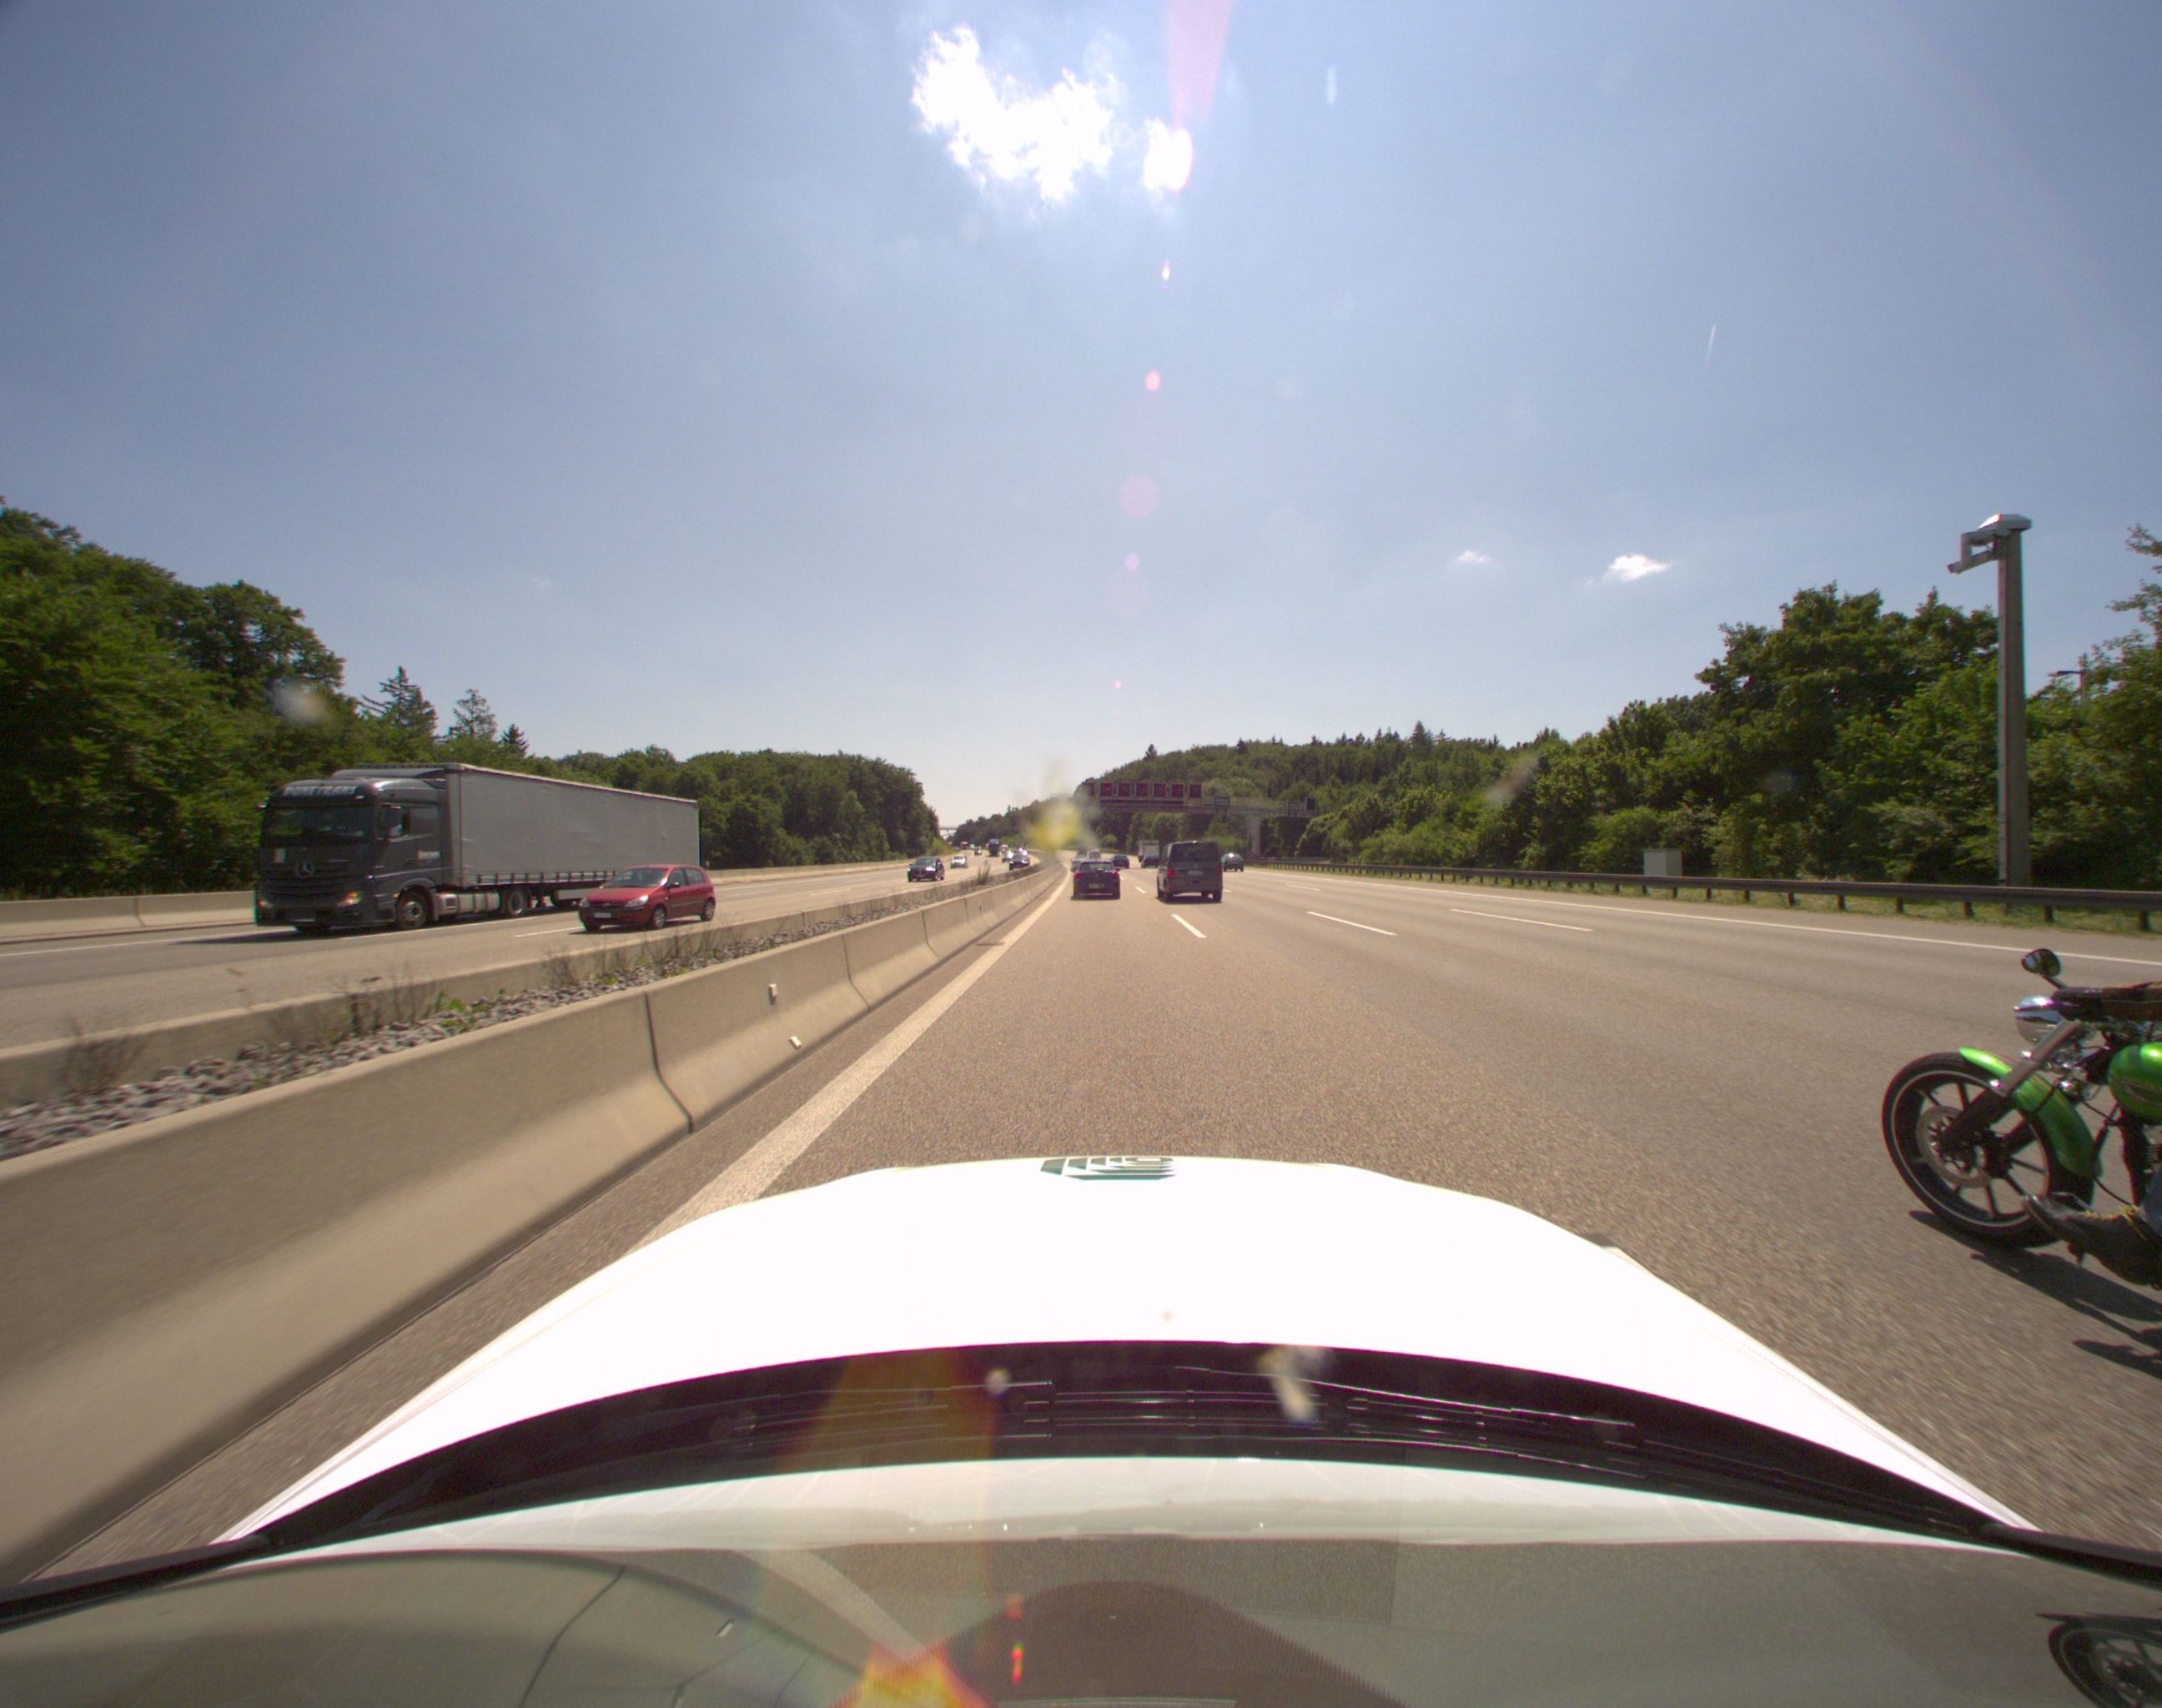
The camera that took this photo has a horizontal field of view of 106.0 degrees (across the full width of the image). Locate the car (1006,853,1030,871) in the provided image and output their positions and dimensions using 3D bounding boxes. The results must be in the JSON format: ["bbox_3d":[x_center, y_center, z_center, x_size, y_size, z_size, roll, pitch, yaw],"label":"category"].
[{"bbox_3d":[-6.190,0.756,80.809,1.987,1.667,4.434,-1,0,0],"label":"car"}]

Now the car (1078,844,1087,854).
[{"bbox_3d":[0.384,-1.129,199.082,2.258,2.371,4.701,-1,0,0],"label":"car"}]

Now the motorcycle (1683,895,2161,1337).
[{"bbox_3d":[3.421,0.794,3.198,0.533,1.135,2.441,-1,0,7],"label":"motorcycle"}]

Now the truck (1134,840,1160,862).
[{"bbox_3d":[9.737,-0.449,120.136,2.978,3.166,7.569,-1,1,-2],"label":"truck"}]

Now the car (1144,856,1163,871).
[{"bbox_3d":[7.495,1.000,84.900,1.659,1.408,4.905,0,1,2],"label":"car"}]

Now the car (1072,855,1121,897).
[{"bbox_3d":[0.557,0.780,30.489,1.702,1.433,4.000,0,0,1],"label":"car"}]

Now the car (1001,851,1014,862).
[{"bbox_3d":[-11.961,0.395,133.293,1.749,1.635,4.636,-1,1,-2],"label":"car"}]

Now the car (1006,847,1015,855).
[{"bbox_3d":[-18.572,-0.815,215.028,1.988,1.967,4.780,-1,0,-2],"label":"car"}]

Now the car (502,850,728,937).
[{"bbox_3d":[-10.626,0.826,19.178,2.278,1.728,5.032,-1,0,2],"label":"car"}]

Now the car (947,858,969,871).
[{"bbox_3d":[-14.344,1.206,95.363,1.987,1.532,4.377,0,0,-1],"label":"car"}]

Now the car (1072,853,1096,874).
[{"bbox_3d":[0.316,0.970,77.401,2.004,1.846,4.002,-1,-3,3],"label":"car"}]

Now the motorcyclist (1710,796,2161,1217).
[{"bbox_3d":[3.359,0.523,3.307,0.848,1.427,1.025,-1,0,6],"label":"motorcyclist"}]

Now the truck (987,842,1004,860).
[{"bbox_3d":[-20.505,-0.616,195.362,3.778,4.177,5.872,0,0,-3],"label":"truck"}]

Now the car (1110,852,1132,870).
[{"bbox_3d":[4.074,0.695,82.925,1.988,1.728,4.147,-1,-1,-1],"label":"car"}]

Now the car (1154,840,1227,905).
[{"bbox_3d":[3.708,0.594,28.420,1.956,2.033,5.084,-1,0,1],"label":"car"}]

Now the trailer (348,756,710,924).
[{"bbox_3d":[-17.263,-0.323,27.761,2.855,4.262,13.956,-1,0,0],"label":"trailer"}]

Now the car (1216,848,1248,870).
[{"bbox_3d":[12.256,0.373,66.350,1.986,1.728,4.002,-1,0,2],"label":"car"}]

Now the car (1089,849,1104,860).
[{"bbox_3d":[2.415,0.053,128.887,2.097,1.744,4.685,-1,1,-2],"label":"car"}]

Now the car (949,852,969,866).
[{"bbox_3d":[-14.265,0.610,95.301,1.712,1.605,4.281,-1,0,0],"label":"car"}]

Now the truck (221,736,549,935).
[{"bbox_3d":[-17.194,-0.390,20.885,2.867,4.290,6.451,-1,0,-1],"label":"truck"}]

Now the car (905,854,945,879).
[{"bbox_3d":[-10.103,0.846,52.959,1.755,1.520,4.361,-1,-2,0],"label":"car"}]
